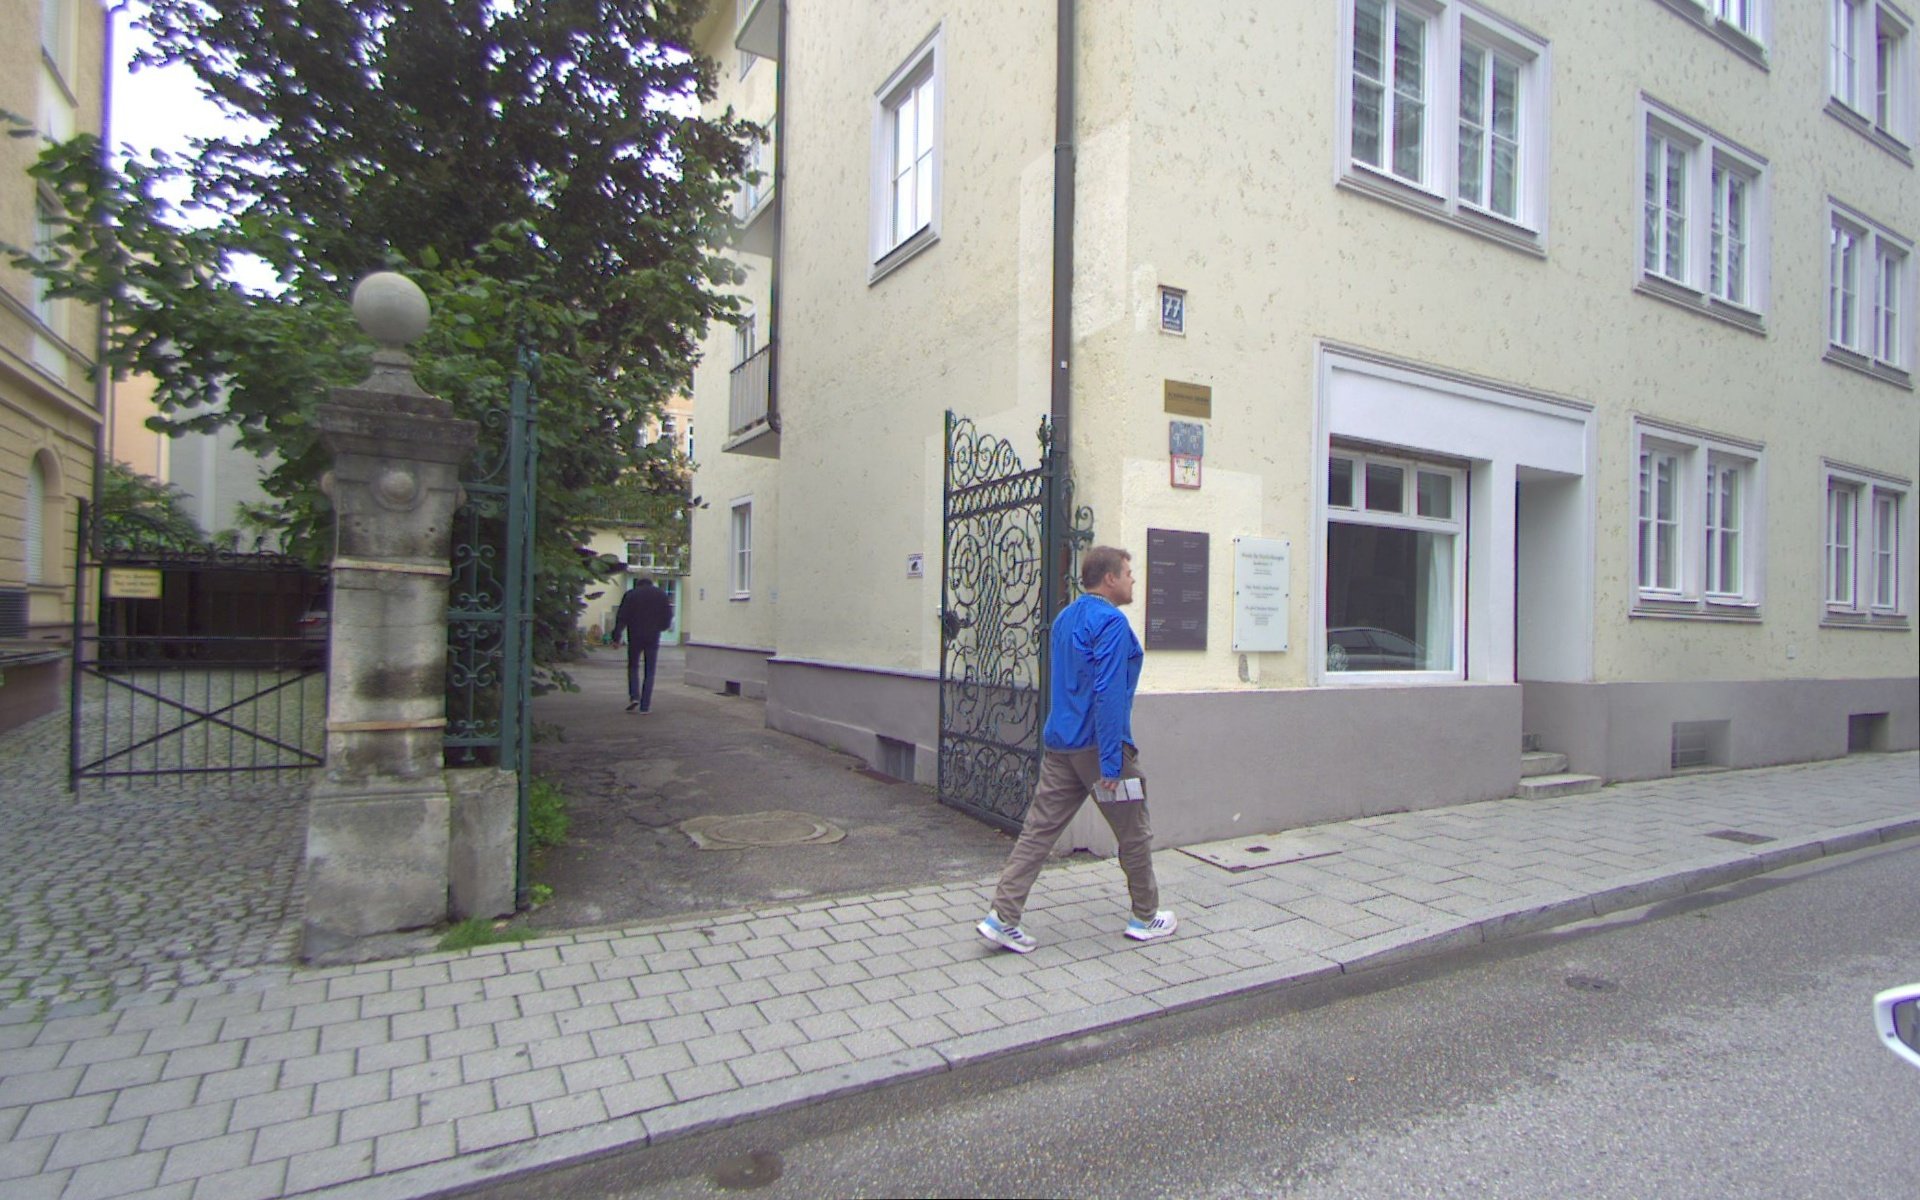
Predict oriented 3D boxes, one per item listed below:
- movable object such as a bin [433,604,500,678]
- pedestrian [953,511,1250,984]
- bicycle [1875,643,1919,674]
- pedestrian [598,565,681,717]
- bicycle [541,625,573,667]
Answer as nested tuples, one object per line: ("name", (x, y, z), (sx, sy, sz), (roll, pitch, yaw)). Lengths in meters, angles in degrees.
("movable object such as a bin", (-9.948, 0.820, 20.307), (1.091, 1.422, 1.221), (1, -1, -22))
("pedestrian", (0.636, 0.598, 4.588), (1.064, 1.879, 0.753), (2, 0, -30))
("bicycle", (35.066, 2.159, 37.167), (0.590, 1.083, 1.651), (2, 0, -25))
("pedestrian", (-4.121, 0.519, 12.900), (0.896, 1.851, 0.950), (1, -1, -23))
("bicycle", (-9.979, 1.130, 24.908), (0.688, 0.985, 1.880), (1, -1, -21))
